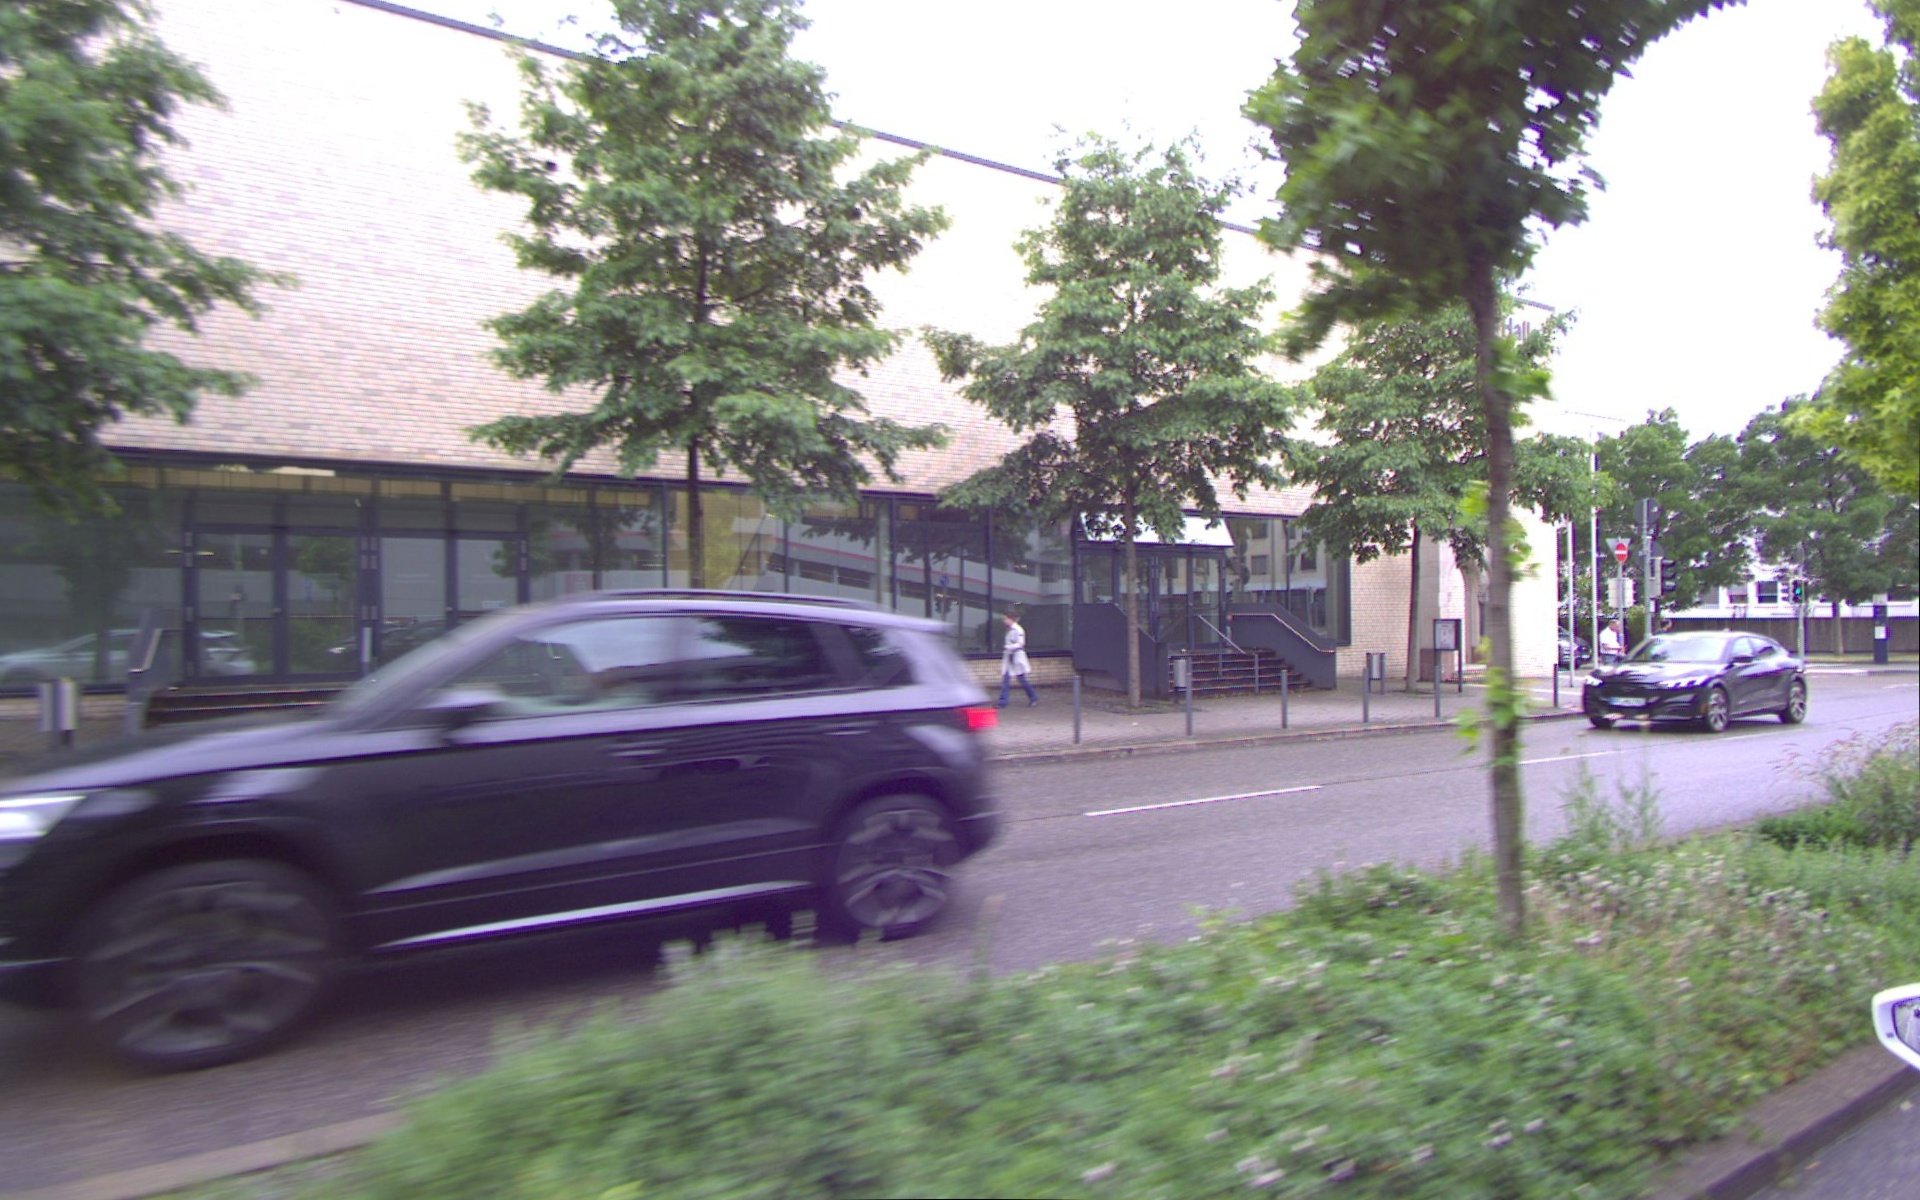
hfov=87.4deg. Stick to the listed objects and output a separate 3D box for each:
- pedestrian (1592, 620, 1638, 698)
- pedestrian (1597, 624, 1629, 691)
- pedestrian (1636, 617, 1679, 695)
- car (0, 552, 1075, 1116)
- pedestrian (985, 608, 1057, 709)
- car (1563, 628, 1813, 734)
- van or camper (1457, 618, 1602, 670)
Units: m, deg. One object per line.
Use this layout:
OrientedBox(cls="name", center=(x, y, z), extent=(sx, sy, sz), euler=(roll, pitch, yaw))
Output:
OrientedBox(cls="pedestrian", center=(14.500, 1.293, 22.249), extent=(0.683, 1.678, 0.608), euler=(1, -1, -32))
OrientedBox(cls="pedestrian", center=(15.310, 1.331, 23.563), extent=(0.540, 1.554, 0.436), euler=(1, -1, -32))
OrientedBox(cls="pedestrian", center=(16.276, 1.286, 23.439), extent=(0.712, 1.781, 0.681), euler=(1, -1, -40))
OrientedBox(cls="car", center=(-1.627, 0.771, 4.754), extent=(4.185, 1.647, 1.723), euler=(2, -4, -33))
OrientedBox(cls="pedestrian", center=(1.052, 0.999, 17.381), extent=(1.009, 1.688, 0.638), euler=(2, 0, -36))
OrientedBox(cls="car", center=(12.507, 1.323, 17.194), extent=(4.486, 1.607, 1.879), euler=(2, -3, -32))
OrientedBox(cls="van or camper", center=(22.663, 1.698, 40.141), extent=(1.999, 1.957, 4.717), euler=(1, -1, -29))
